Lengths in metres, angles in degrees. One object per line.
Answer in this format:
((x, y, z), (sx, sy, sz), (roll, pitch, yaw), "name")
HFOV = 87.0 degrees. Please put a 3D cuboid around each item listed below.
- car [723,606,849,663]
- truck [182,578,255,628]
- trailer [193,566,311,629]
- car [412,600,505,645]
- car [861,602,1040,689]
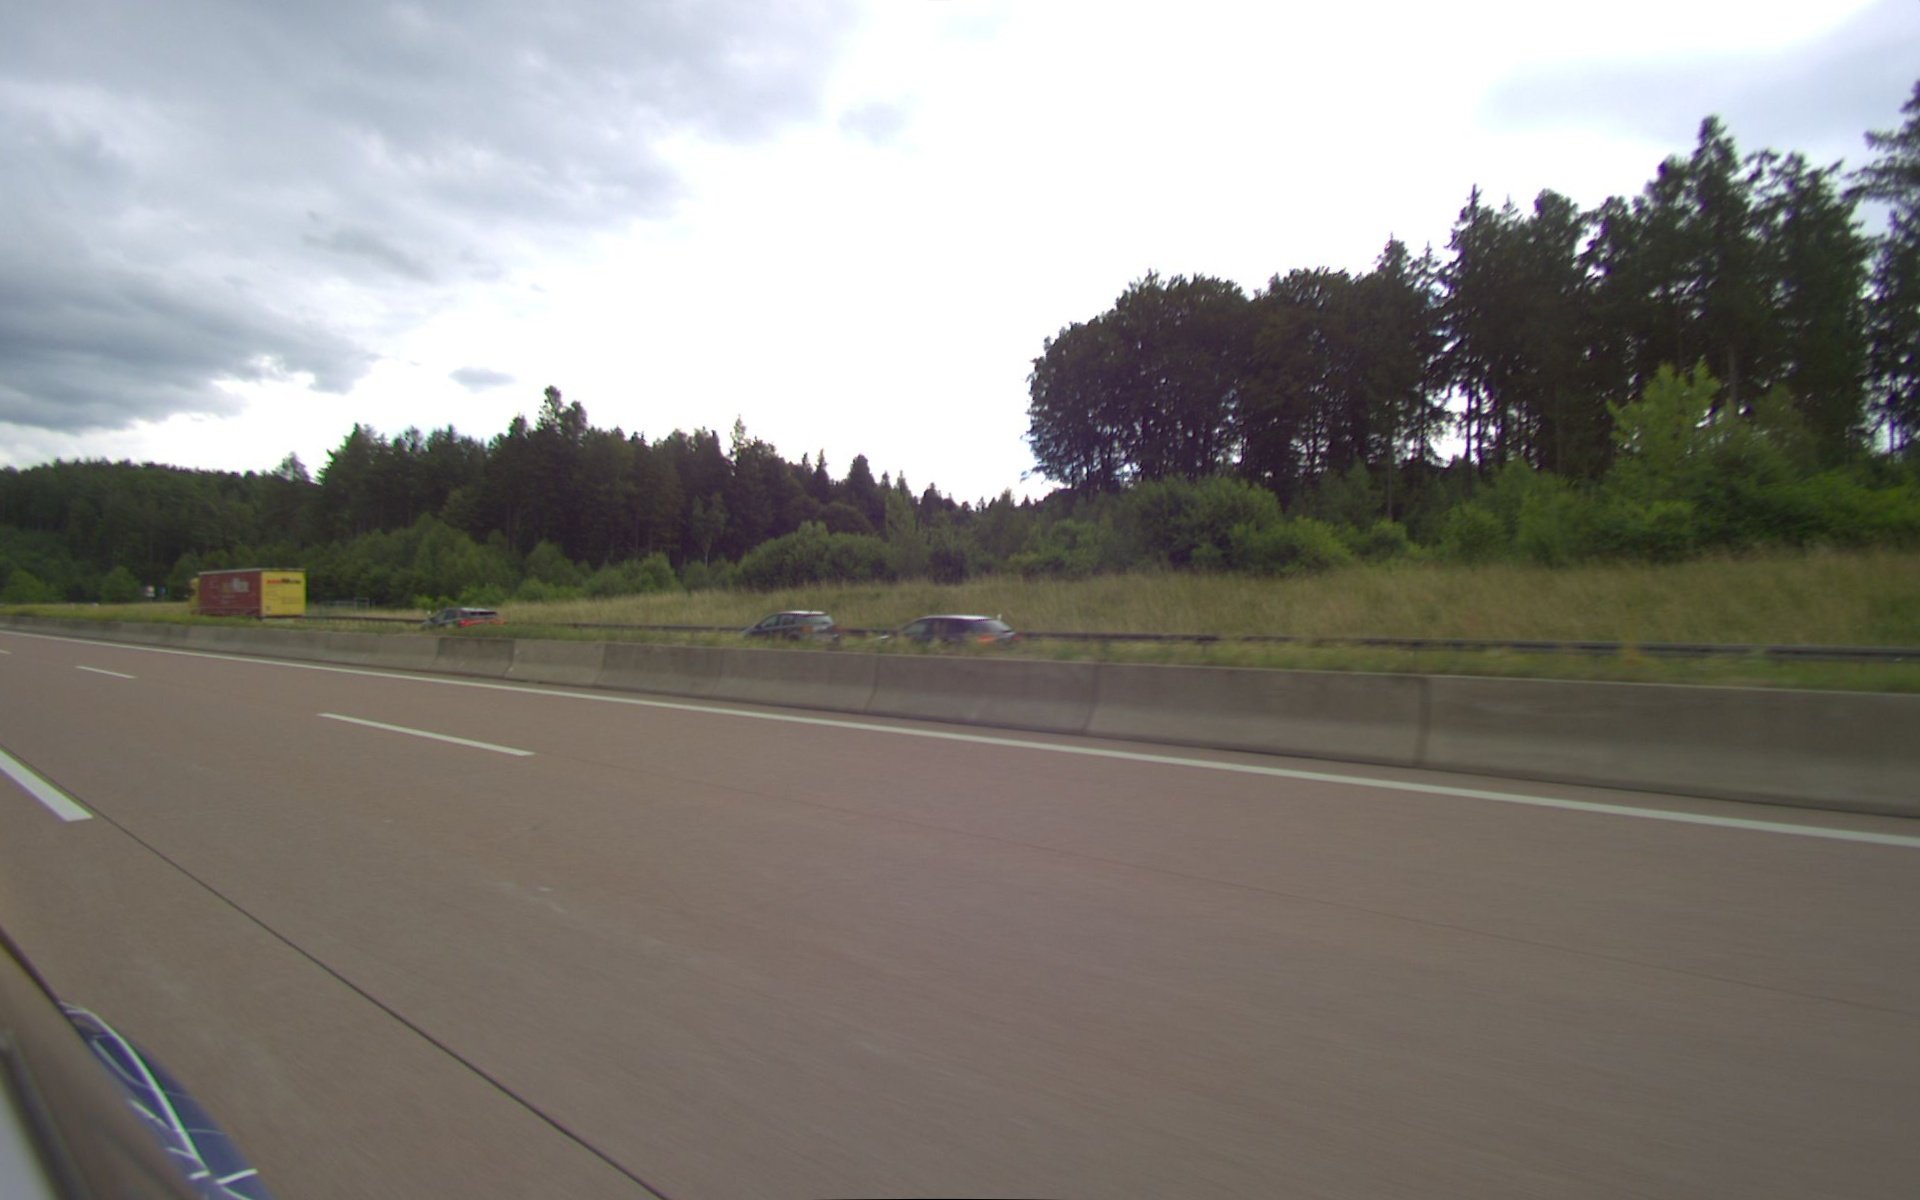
((-5.782, 1.076, 33.308), (4.379, 1.650, 1.744), (1, 1, 41), "car")
((-55.795, 0.239, 76.101), (6.051, 3.609, 2.983), (-1, -1, 39), "truck")
((-50.280, -0.087, 71.601), (14.515, 4.072, 3.003), (-1, 0, 39), "trailer")
((-20.321, 0.874, 40.940), (4.376, 1.650, 1.745), (1, 1, 39), "car")
((-0.275, 0.995, 23.442), (3.998, 1.829, 1.788), (-1, -1, 41), "car")
